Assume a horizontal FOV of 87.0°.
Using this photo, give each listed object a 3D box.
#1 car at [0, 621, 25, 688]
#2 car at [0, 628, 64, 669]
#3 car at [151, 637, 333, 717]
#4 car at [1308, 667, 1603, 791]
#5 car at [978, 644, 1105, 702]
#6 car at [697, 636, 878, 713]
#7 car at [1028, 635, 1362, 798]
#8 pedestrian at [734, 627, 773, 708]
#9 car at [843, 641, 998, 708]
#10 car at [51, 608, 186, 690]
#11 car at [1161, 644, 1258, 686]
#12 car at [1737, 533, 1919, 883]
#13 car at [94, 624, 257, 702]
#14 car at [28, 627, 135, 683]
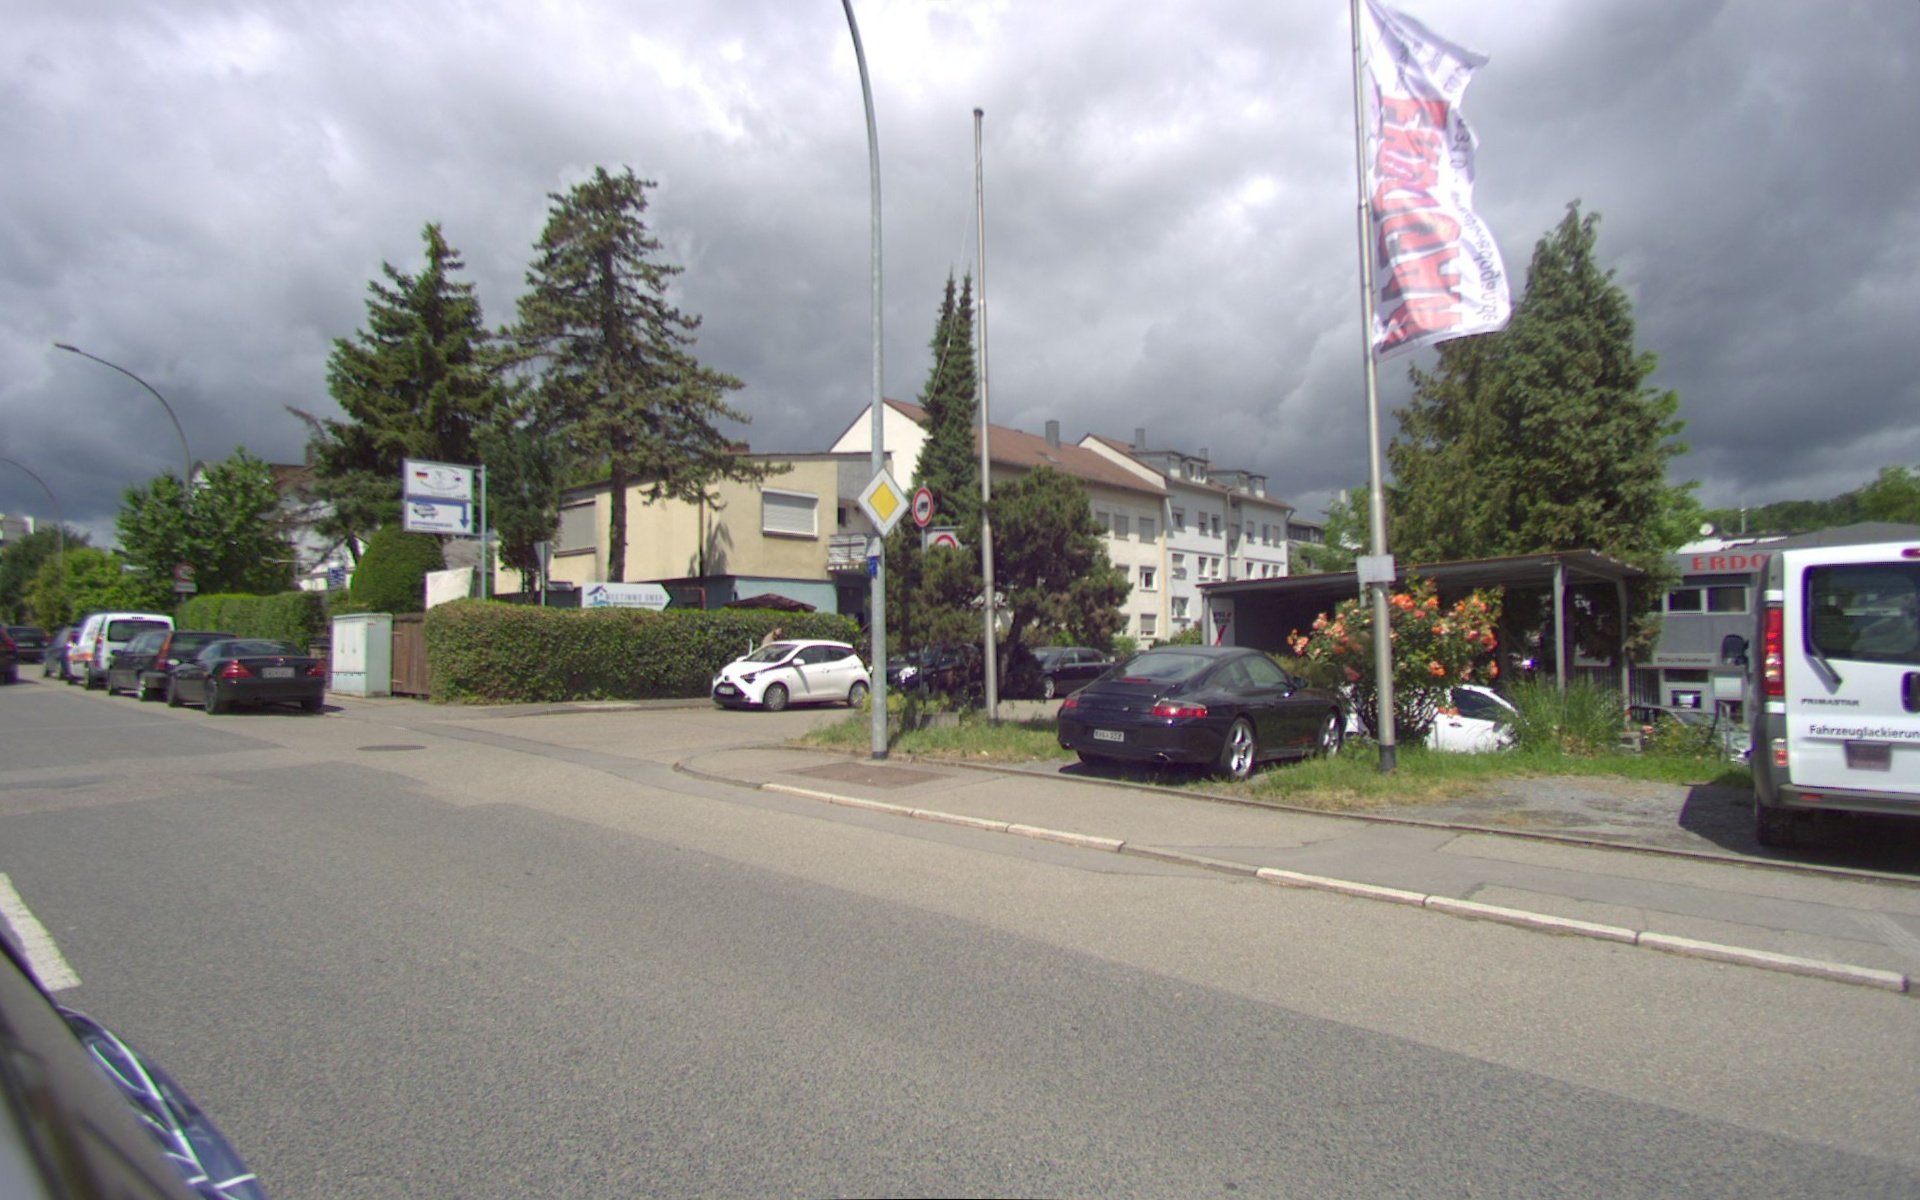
[{"bbox_3d":[-25.442,1.368,25.685,4.408,1.628,1.973,-2,-4,41],"label":"car"},{"bbox_3d":[-36.852,1.918,39.780,4.731,1.504,1.702,-2,-4,40],"label":"car"},{"bbox_3d":[-13.262,1.396,18.620,4.112,1.314,1.614,-2,-6,39],"label":"car"},{"bbox_3d":[9.954,2.470,20.575,5.020,2.029,1.974,-2,-1,40],"label":"car"},{"bbox_3d":[2.335,2.041,28.281,1.842,1.489,3.631,-2,-5,38],"label":"car"},{"bbox_3d":[-3.579,1.580,21.462,1.613,1.489,3.514,-2,-5,42],"label":"car"},{"bbox_3d":[2.636,1.070,10.708,1.870,1.213,3.947,-2,-1,39],"label":"car"},{"bbox_3d":[-4.526,1.463,22.179,0.621,1.747,0.686,2,-3,-28],"label":"pedestrian"},{"bbox_3d":[-0.883,1.813,24.616,1.842,1.489,3.631,-2,-5,38],"label":"car"},{"bbox_3d":[-21.051,1.240,25.255,4.352,1.852,1.726,-2,-6,40],"label":"car"},{"bbox_3d":[11.789,3.046,47.852,3.988,1.807,1.978,-2,-1,33],"label":"car"},{"bbox_3d":[7.073,0.666,7.414,2.112,1.987,4.607,-2,-3,37],"label":"car"},{"bbox_3d":[-16.758,1.337,21.538,4.640,1.483,1.726,-2,-6,40],"label":"car"},{"bbox_3d":[-25.410,1.590,29.238,3.996,1.498,1.623,-2,-6,40],"label":"car"}]
